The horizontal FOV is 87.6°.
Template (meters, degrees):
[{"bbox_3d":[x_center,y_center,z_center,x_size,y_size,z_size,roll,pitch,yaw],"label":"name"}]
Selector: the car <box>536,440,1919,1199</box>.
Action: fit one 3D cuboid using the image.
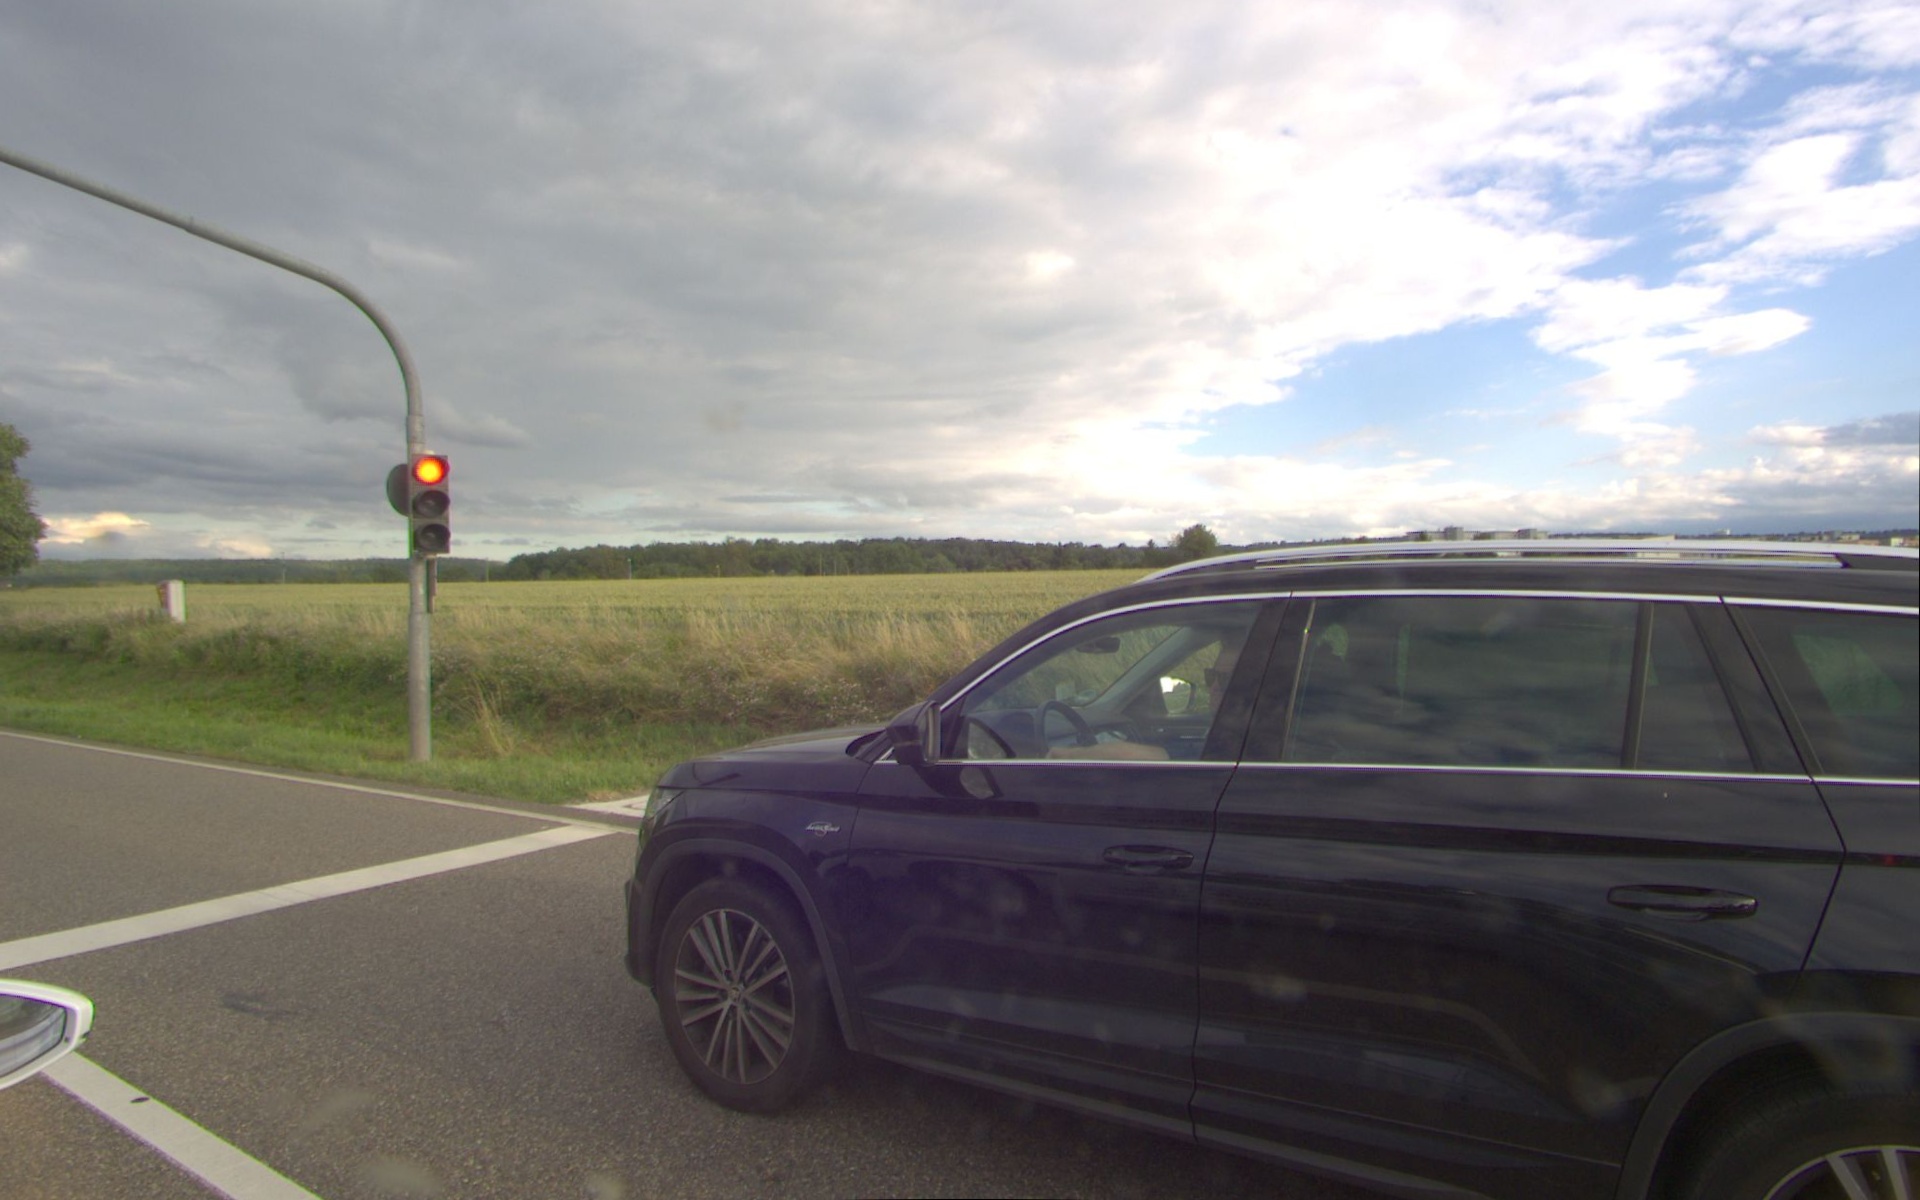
[{"bbox_3d":[0.890,0.669,3.088,4.492,1.730,1.833,-1,-2,32],"label":"car"}]
